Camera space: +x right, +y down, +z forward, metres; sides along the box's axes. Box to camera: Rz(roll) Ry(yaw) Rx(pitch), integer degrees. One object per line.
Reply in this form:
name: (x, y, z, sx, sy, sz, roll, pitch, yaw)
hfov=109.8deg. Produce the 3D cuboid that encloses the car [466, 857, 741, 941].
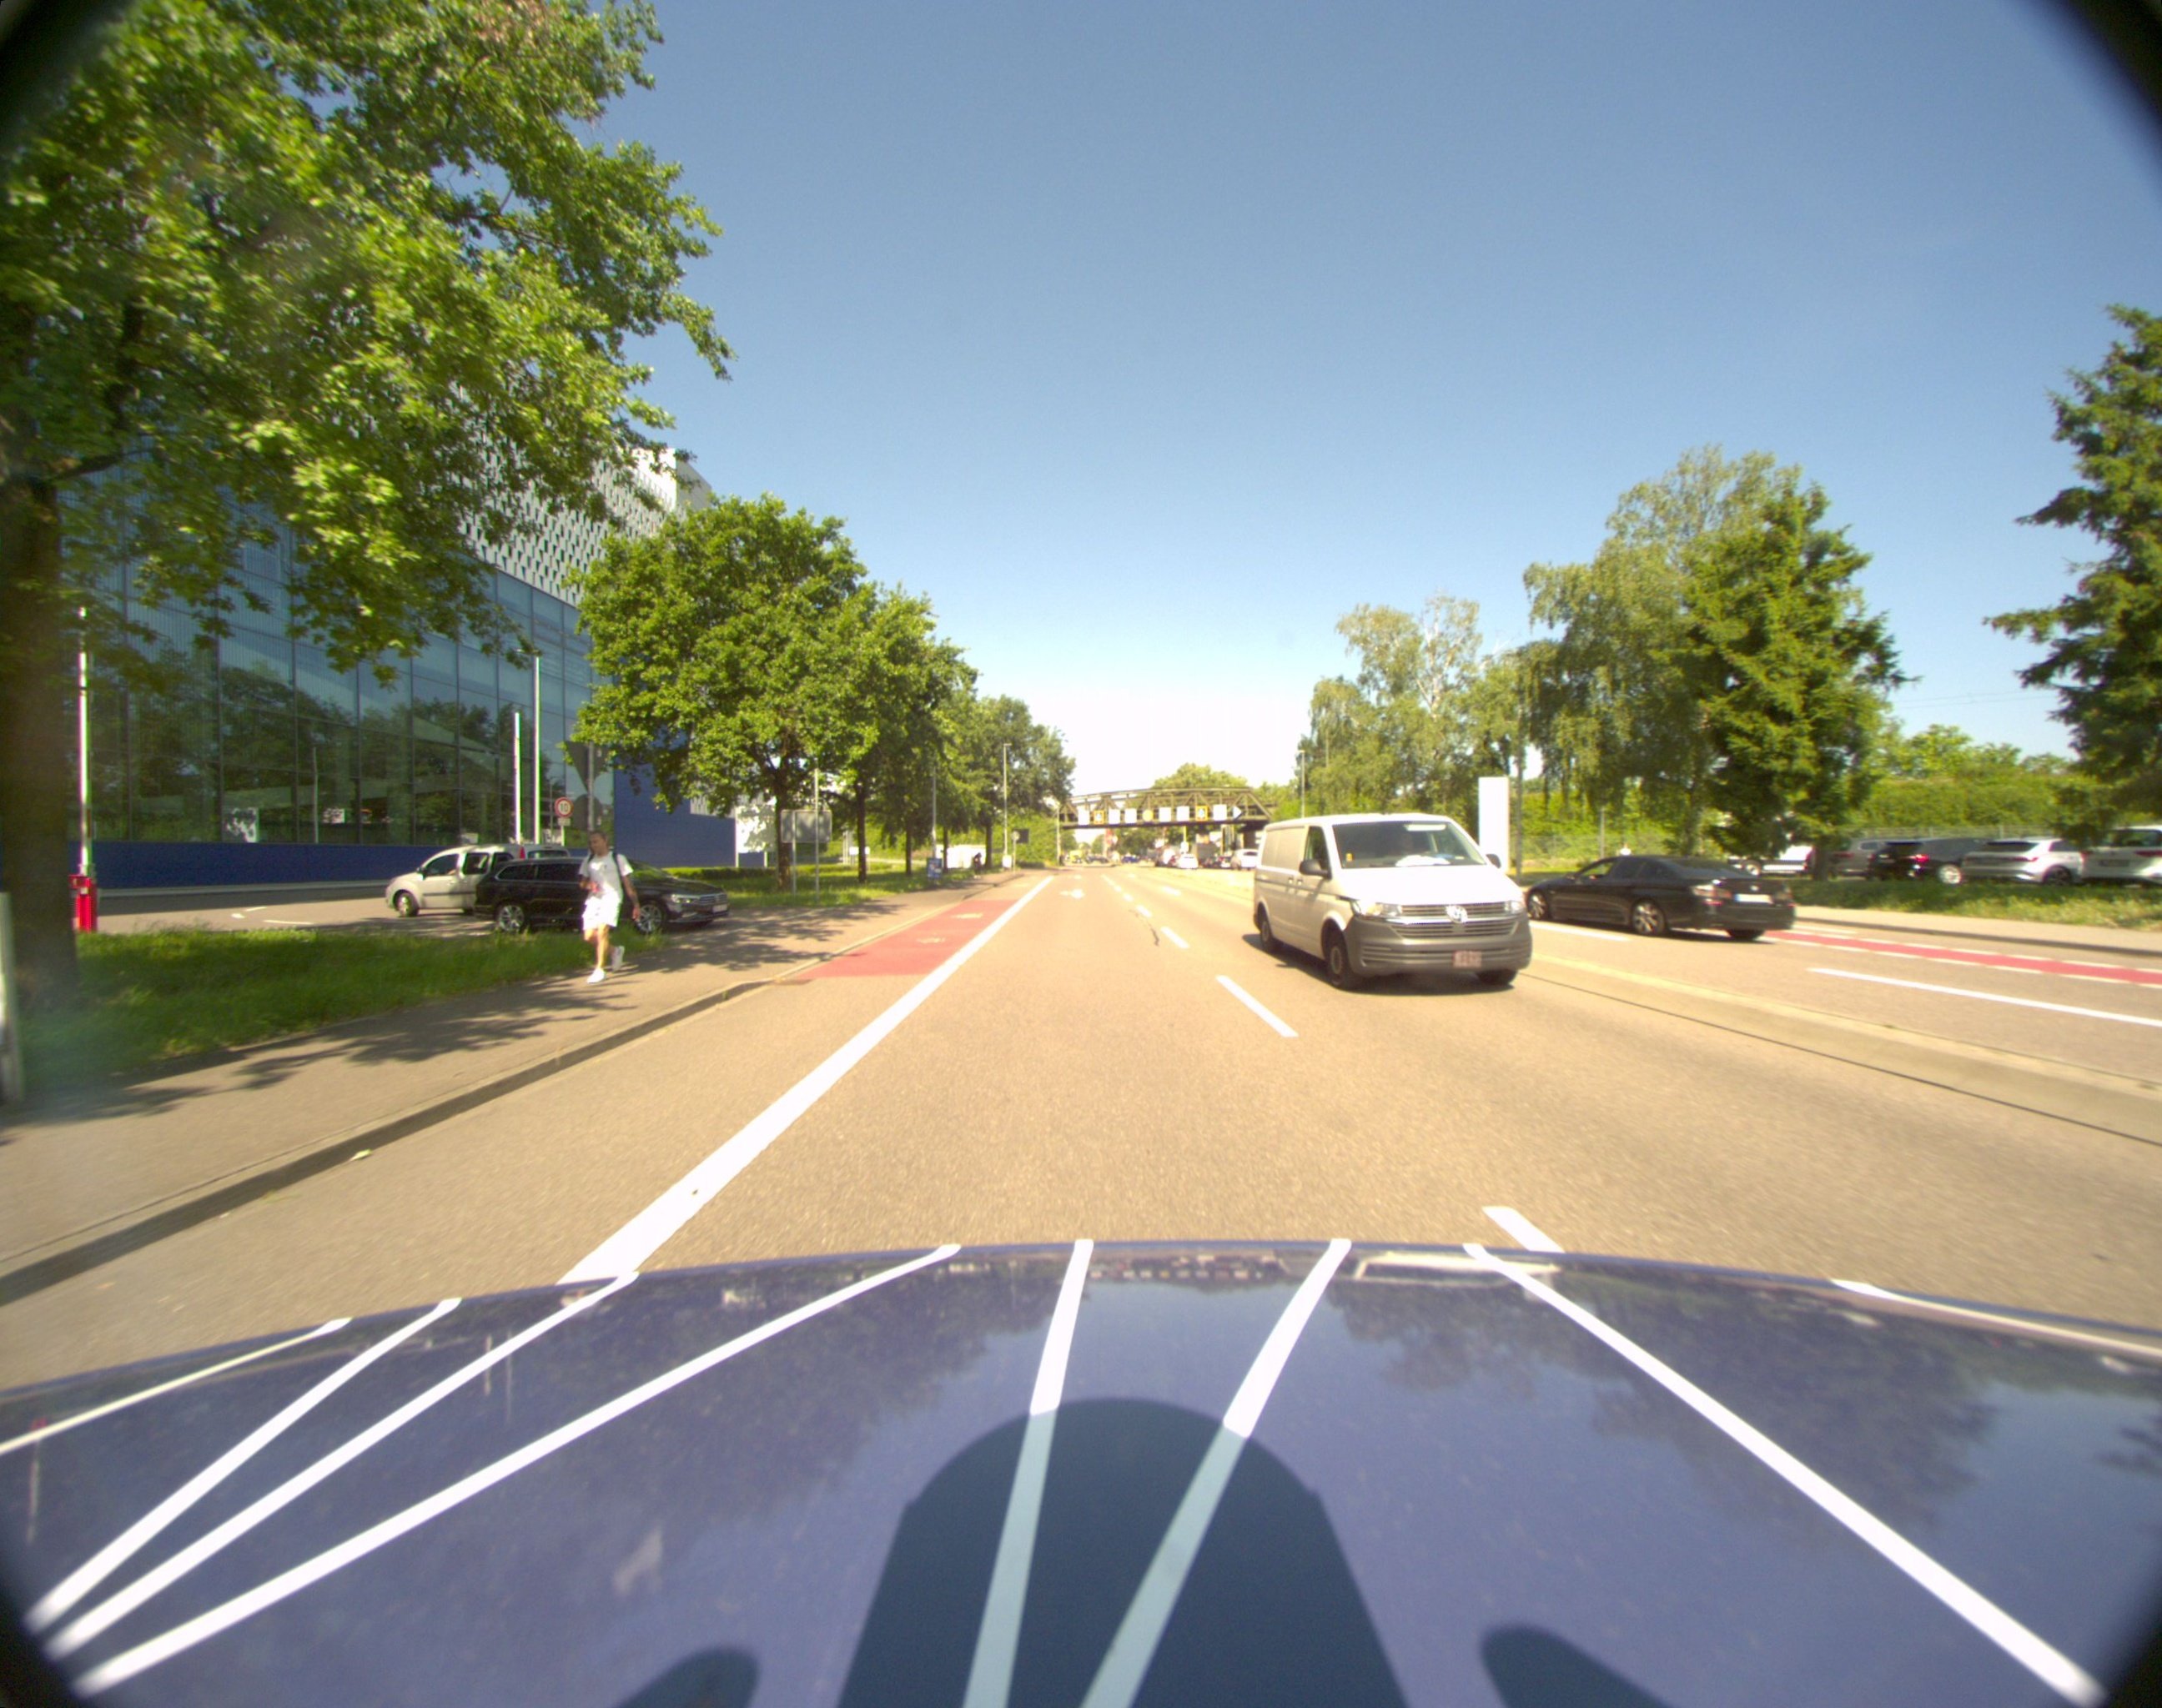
car: (-9.300, 0.832, 14.992, 4.368, 1.511, 1.913, 0, 1, 8)

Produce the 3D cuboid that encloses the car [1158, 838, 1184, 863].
car: (10.667, -0.359, 90.480, 1.999, 2.789, 6.936, 2, 0, -1)

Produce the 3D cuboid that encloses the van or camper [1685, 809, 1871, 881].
van or camper: (26.891, -0.338, 29.441, 5.393, 2.456, 2.000, -3, -1, -2)

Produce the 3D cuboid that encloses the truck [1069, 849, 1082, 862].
truck: (-1.245, 0.427, 178.935, 2.411, 2.845, 5.803, -3, -1, -5)

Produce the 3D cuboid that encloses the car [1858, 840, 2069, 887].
car: (26.627, 0.259, 23.065, 4.095, 1.346, 1.744, 0, 1, 6)

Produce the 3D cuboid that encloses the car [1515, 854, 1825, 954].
car: (10.395, 0.763, 14.075, 1.846, 1.455, 4.999, 2, 0, 0)

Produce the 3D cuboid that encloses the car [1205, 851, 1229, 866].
car: (15.755, 0.540, 88.364, 1.989, 1.679, 4.288, 1, -1, 1)

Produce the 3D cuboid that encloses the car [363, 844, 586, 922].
car: (-15.027, 0.681, 18.966, 4.175, 1.818, 1.912, 0, 1, 5)

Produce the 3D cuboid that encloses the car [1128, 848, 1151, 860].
car: (10.878, 0.044, 141.403, 3.996, 2.001, 2.212, -3, -1, 2)

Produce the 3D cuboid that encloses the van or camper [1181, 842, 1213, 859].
van or camper: (23.475, -0.750, 153.649, 5.779, 3.136, 2.599, -3, -1, -4)

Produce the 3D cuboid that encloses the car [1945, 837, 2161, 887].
car: (26.247, 0.202, 20.356, 4.096, 1.286, 1.744, 0, 0, 2)

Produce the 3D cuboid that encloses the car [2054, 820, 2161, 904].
car: (26.385, 0.154, 17.898, 4.276, 1.873, 1.954, 0, 1, 2)

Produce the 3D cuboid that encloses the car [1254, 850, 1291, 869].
car: (15.464, 0.413, 61.585, 1.998, 1.405, 4.681, 0, 0, 2)

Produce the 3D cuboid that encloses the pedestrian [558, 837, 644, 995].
pedestrian: (-5.740, 0.715, 9.119, 0.536, 1.831, 0.727, 0, 1, 0)

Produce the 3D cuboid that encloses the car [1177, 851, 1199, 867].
car: (10.477, 0.525, 74.659, 1.647, 1.485, 3.829, 1, -1, 0)

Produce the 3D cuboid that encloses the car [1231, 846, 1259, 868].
car: (15.550, 0.234, 72.266, 1.998, 2.002, 5.348, 0, 0, 5)

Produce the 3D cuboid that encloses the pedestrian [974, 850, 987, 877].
pedestrian: (-5.939, 0.535, 44.896, 0.648, 1.594, 0.846, 0, 1, 1)

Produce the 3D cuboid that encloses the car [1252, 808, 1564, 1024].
car: (3.550, 0.571, 9.455, 1.886, 1.982, 4.975, 0, 0, 2)

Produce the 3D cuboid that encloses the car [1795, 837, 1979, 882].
car: (26.852, 0.182, 25.431, 4.095, 1.430, 1.744, 0, 0, 6)

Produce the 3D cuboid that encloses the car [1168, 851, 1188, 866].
car: (10.554, 0.509, 82.902, 1.773, 1.485, 4.178, 1, -1, 1)

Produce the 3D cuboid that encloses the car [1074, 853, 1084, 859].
car: (-0.409, 0.465, 163.118, 1.823, 1.346, 3.998, 0, 0, -4)

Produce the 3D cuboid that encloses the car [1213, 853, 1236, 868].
car: (15.397, 0.705, 81.689, 1.773, 1.485, 4.178, 1, -1, 1)

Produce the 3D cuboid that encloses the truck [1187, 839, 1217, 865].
truck: (15.178, -0.227, 95.673, 2.347, 3.070, 7.067, -1, 0, -3)
